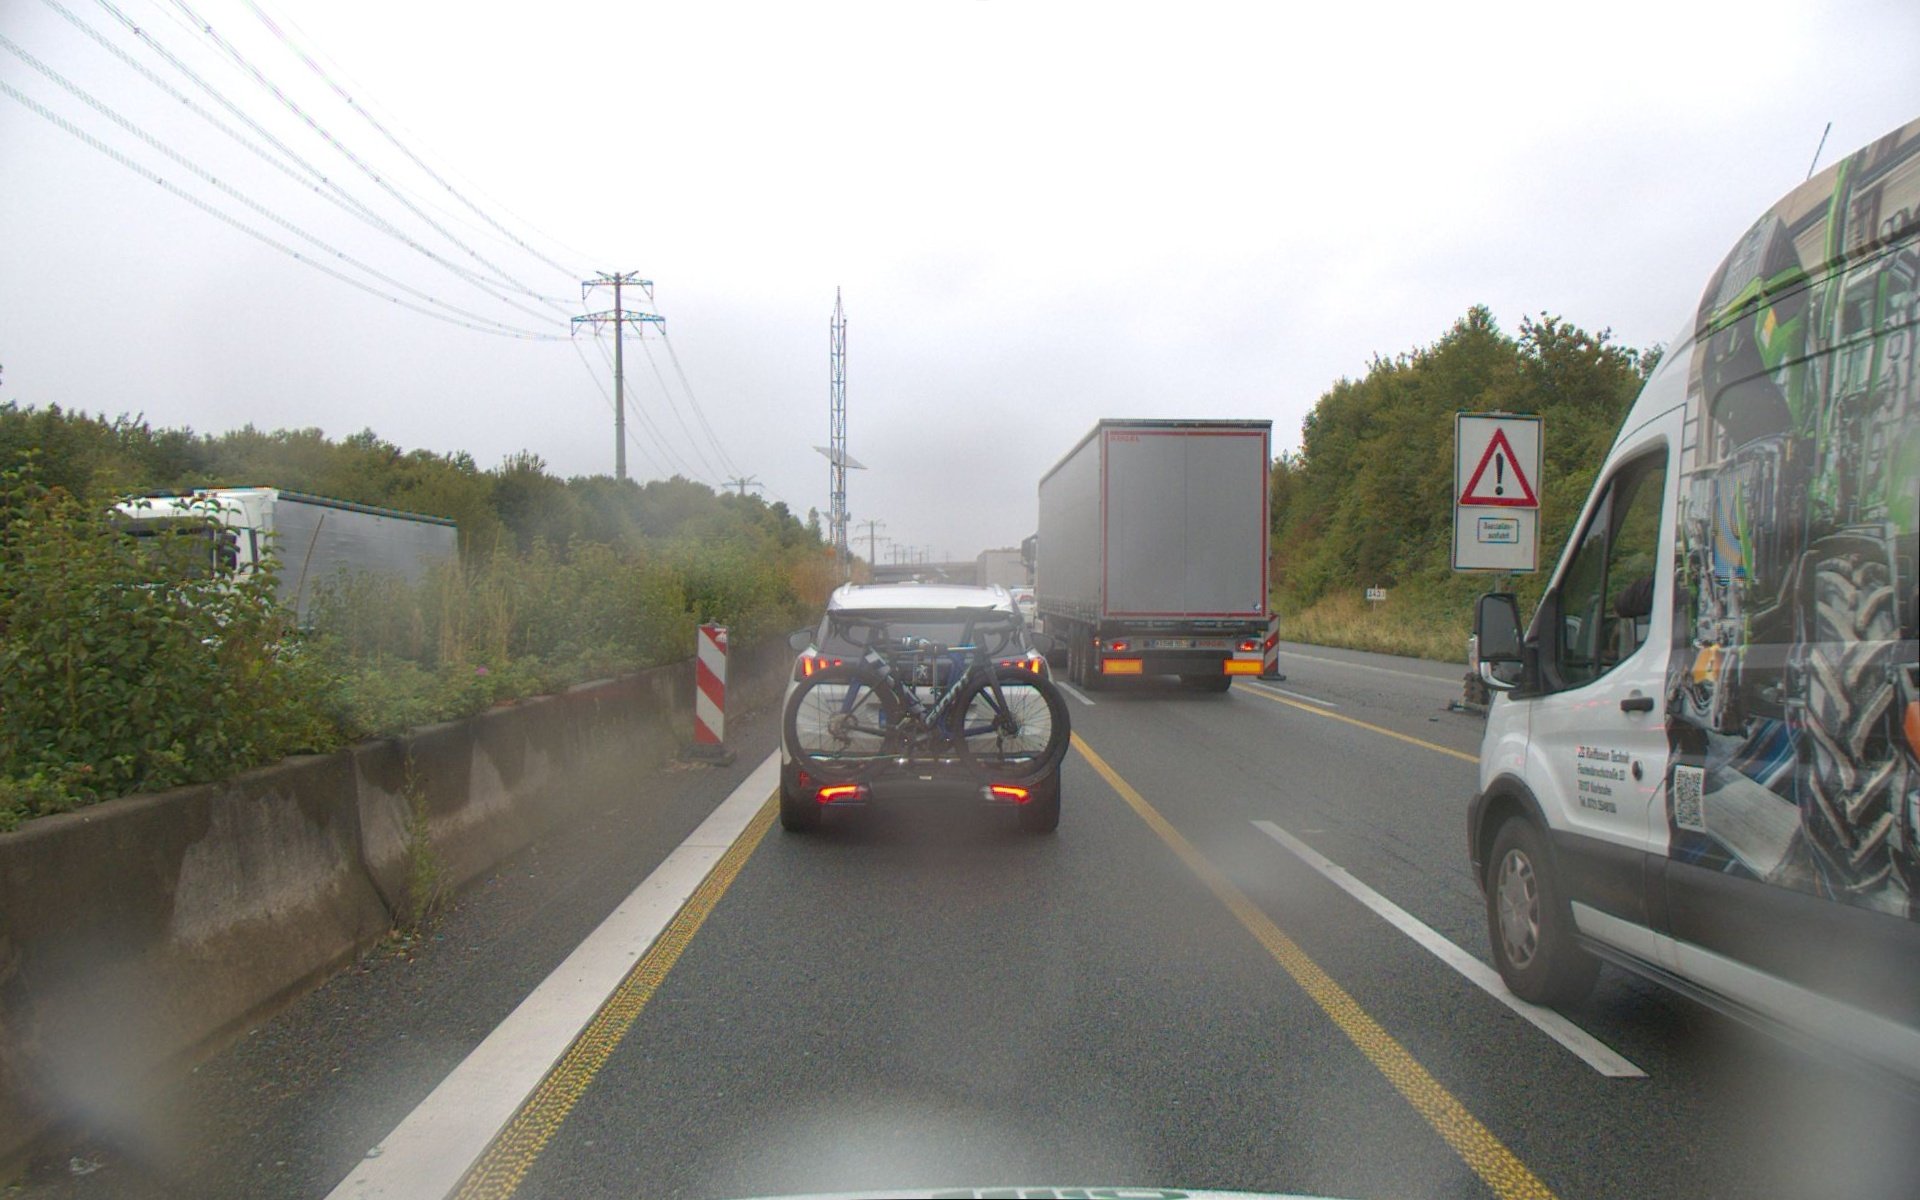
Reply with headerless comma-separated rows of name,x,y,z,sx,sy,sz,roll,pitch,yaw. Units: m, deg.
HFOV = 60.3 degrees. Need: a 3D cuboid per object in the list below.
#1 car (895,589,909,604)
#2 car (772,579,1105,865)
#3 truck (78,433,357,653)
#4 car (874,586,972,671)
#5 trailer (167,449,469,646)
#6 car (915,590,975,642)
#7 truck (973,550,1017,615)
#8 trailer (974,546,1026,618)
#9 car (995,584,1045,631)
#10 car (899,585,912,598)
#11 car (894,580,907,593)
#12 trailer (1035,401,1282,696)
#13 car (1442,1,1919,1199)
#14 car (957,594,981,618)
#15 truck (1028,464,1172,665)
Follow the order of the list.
car,-8.098,-0.454,230.826,1.892,2.008,4.000,0,1,-1
car,-0.161,0.660,11.429,1.812,1.557,4.767,0,0,-1
truck,-15.615,-1.110,35.478,2.730,4.093,7.231,-3,0,-2
car,-0.718,0.521,32.658,1.812,1.557,3.999,0,0,-1
trailer,-15.755,-1.151,42.163,2.730,4.093,13.246,-3,0,-2
car,-0.497,0.476,51.826,1.812,1.557,3.999,0,0,-1
truck,2.293,-1.140,110.088,2.606,4.148,6.537,0,0,-1
trailer,2.414,-1.084,103.294,2.638,4.148,13.630,0,0,-1
car,2.432,0.279,68.319,1.792,1.871,4.654,0,0,-1
car,-8.119,-1.253,248.827,1.892,1.944,4.000,0,1,-1
car,-9.372,-2.116,261.485,1.892,2.008,4.000,0,1,-1
trailer,3.158,-0.758,30.548,2.651,4.218,13.728,0,0,-1
car,3.123,0.063,4.211,1.953,2.831,5.754,0,0,-2
car,0.821,0.540,151.272,2.067,2.008,4.000,0,1,-1
truck,3.048,-0.753,37.455,2.651,4.211,5.689,0,0,-1
